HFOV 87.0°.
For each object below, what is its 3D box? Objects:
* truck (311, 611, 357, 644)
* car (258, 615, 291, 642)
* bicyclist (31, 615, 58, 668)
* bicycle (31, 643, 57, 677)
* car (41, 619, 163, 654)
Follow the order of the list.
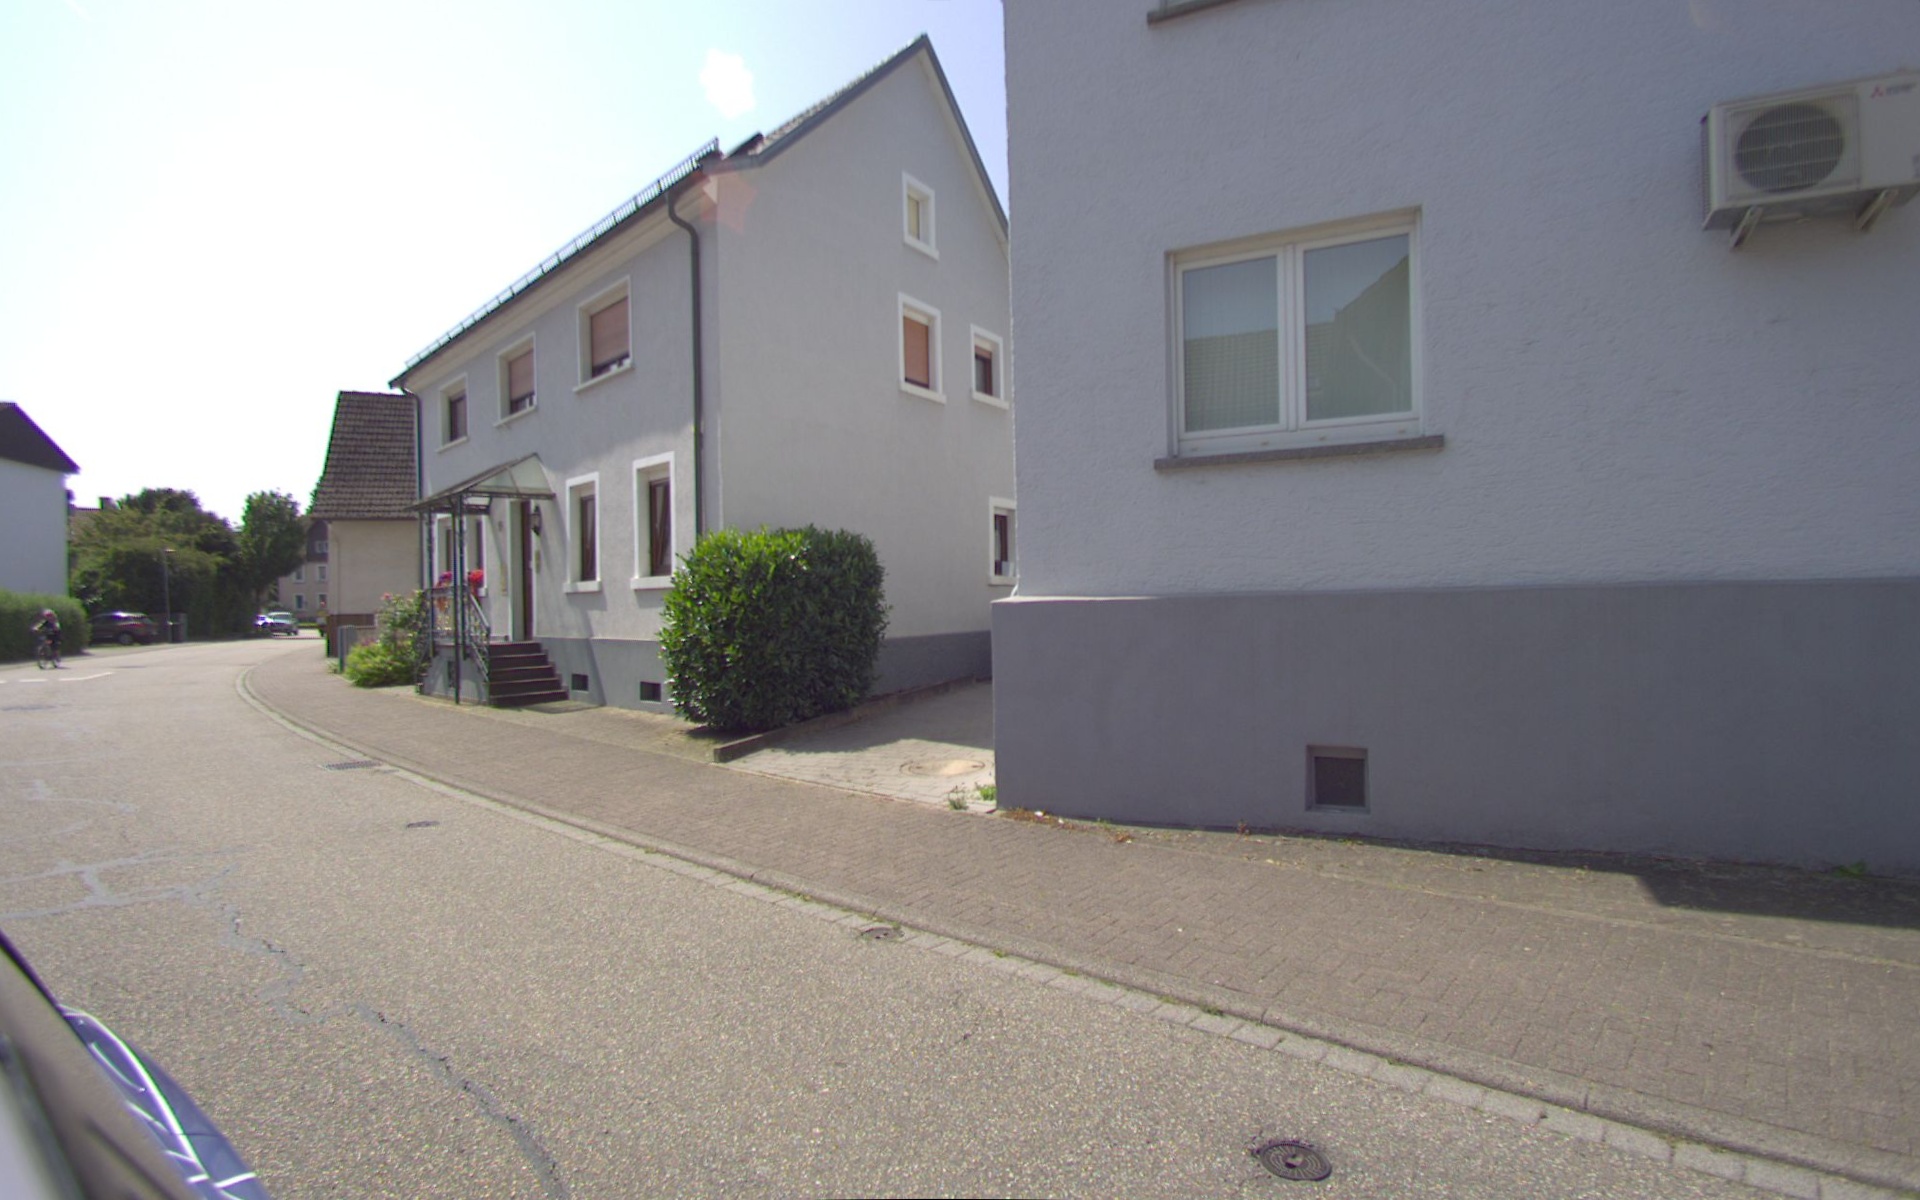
[{"bbox_3d":[-43.128,1.848,69.867,2.229,2.151,6.787,0,-1,-28],"label":"truck"},{"bbox_3d":[-49.015,2.035,72.401,1.752,1.855,3.912,0,-1,-31],"label":"car"},{"bbox_3d":[-26.459,1.197,29.256,0.539,1.501,0.798,0,-1,-41],"label":"bicyclist"},{"bbox_3d":[-26.366,1.711,29.150,0.513,0.911,1.315,0,-1,-40],"label":"bicycle"},{"bbox_3d":[-43.079,1.803,50.948,4.218,1.684,2.072,0,-1,-22],"label":"car"}]
